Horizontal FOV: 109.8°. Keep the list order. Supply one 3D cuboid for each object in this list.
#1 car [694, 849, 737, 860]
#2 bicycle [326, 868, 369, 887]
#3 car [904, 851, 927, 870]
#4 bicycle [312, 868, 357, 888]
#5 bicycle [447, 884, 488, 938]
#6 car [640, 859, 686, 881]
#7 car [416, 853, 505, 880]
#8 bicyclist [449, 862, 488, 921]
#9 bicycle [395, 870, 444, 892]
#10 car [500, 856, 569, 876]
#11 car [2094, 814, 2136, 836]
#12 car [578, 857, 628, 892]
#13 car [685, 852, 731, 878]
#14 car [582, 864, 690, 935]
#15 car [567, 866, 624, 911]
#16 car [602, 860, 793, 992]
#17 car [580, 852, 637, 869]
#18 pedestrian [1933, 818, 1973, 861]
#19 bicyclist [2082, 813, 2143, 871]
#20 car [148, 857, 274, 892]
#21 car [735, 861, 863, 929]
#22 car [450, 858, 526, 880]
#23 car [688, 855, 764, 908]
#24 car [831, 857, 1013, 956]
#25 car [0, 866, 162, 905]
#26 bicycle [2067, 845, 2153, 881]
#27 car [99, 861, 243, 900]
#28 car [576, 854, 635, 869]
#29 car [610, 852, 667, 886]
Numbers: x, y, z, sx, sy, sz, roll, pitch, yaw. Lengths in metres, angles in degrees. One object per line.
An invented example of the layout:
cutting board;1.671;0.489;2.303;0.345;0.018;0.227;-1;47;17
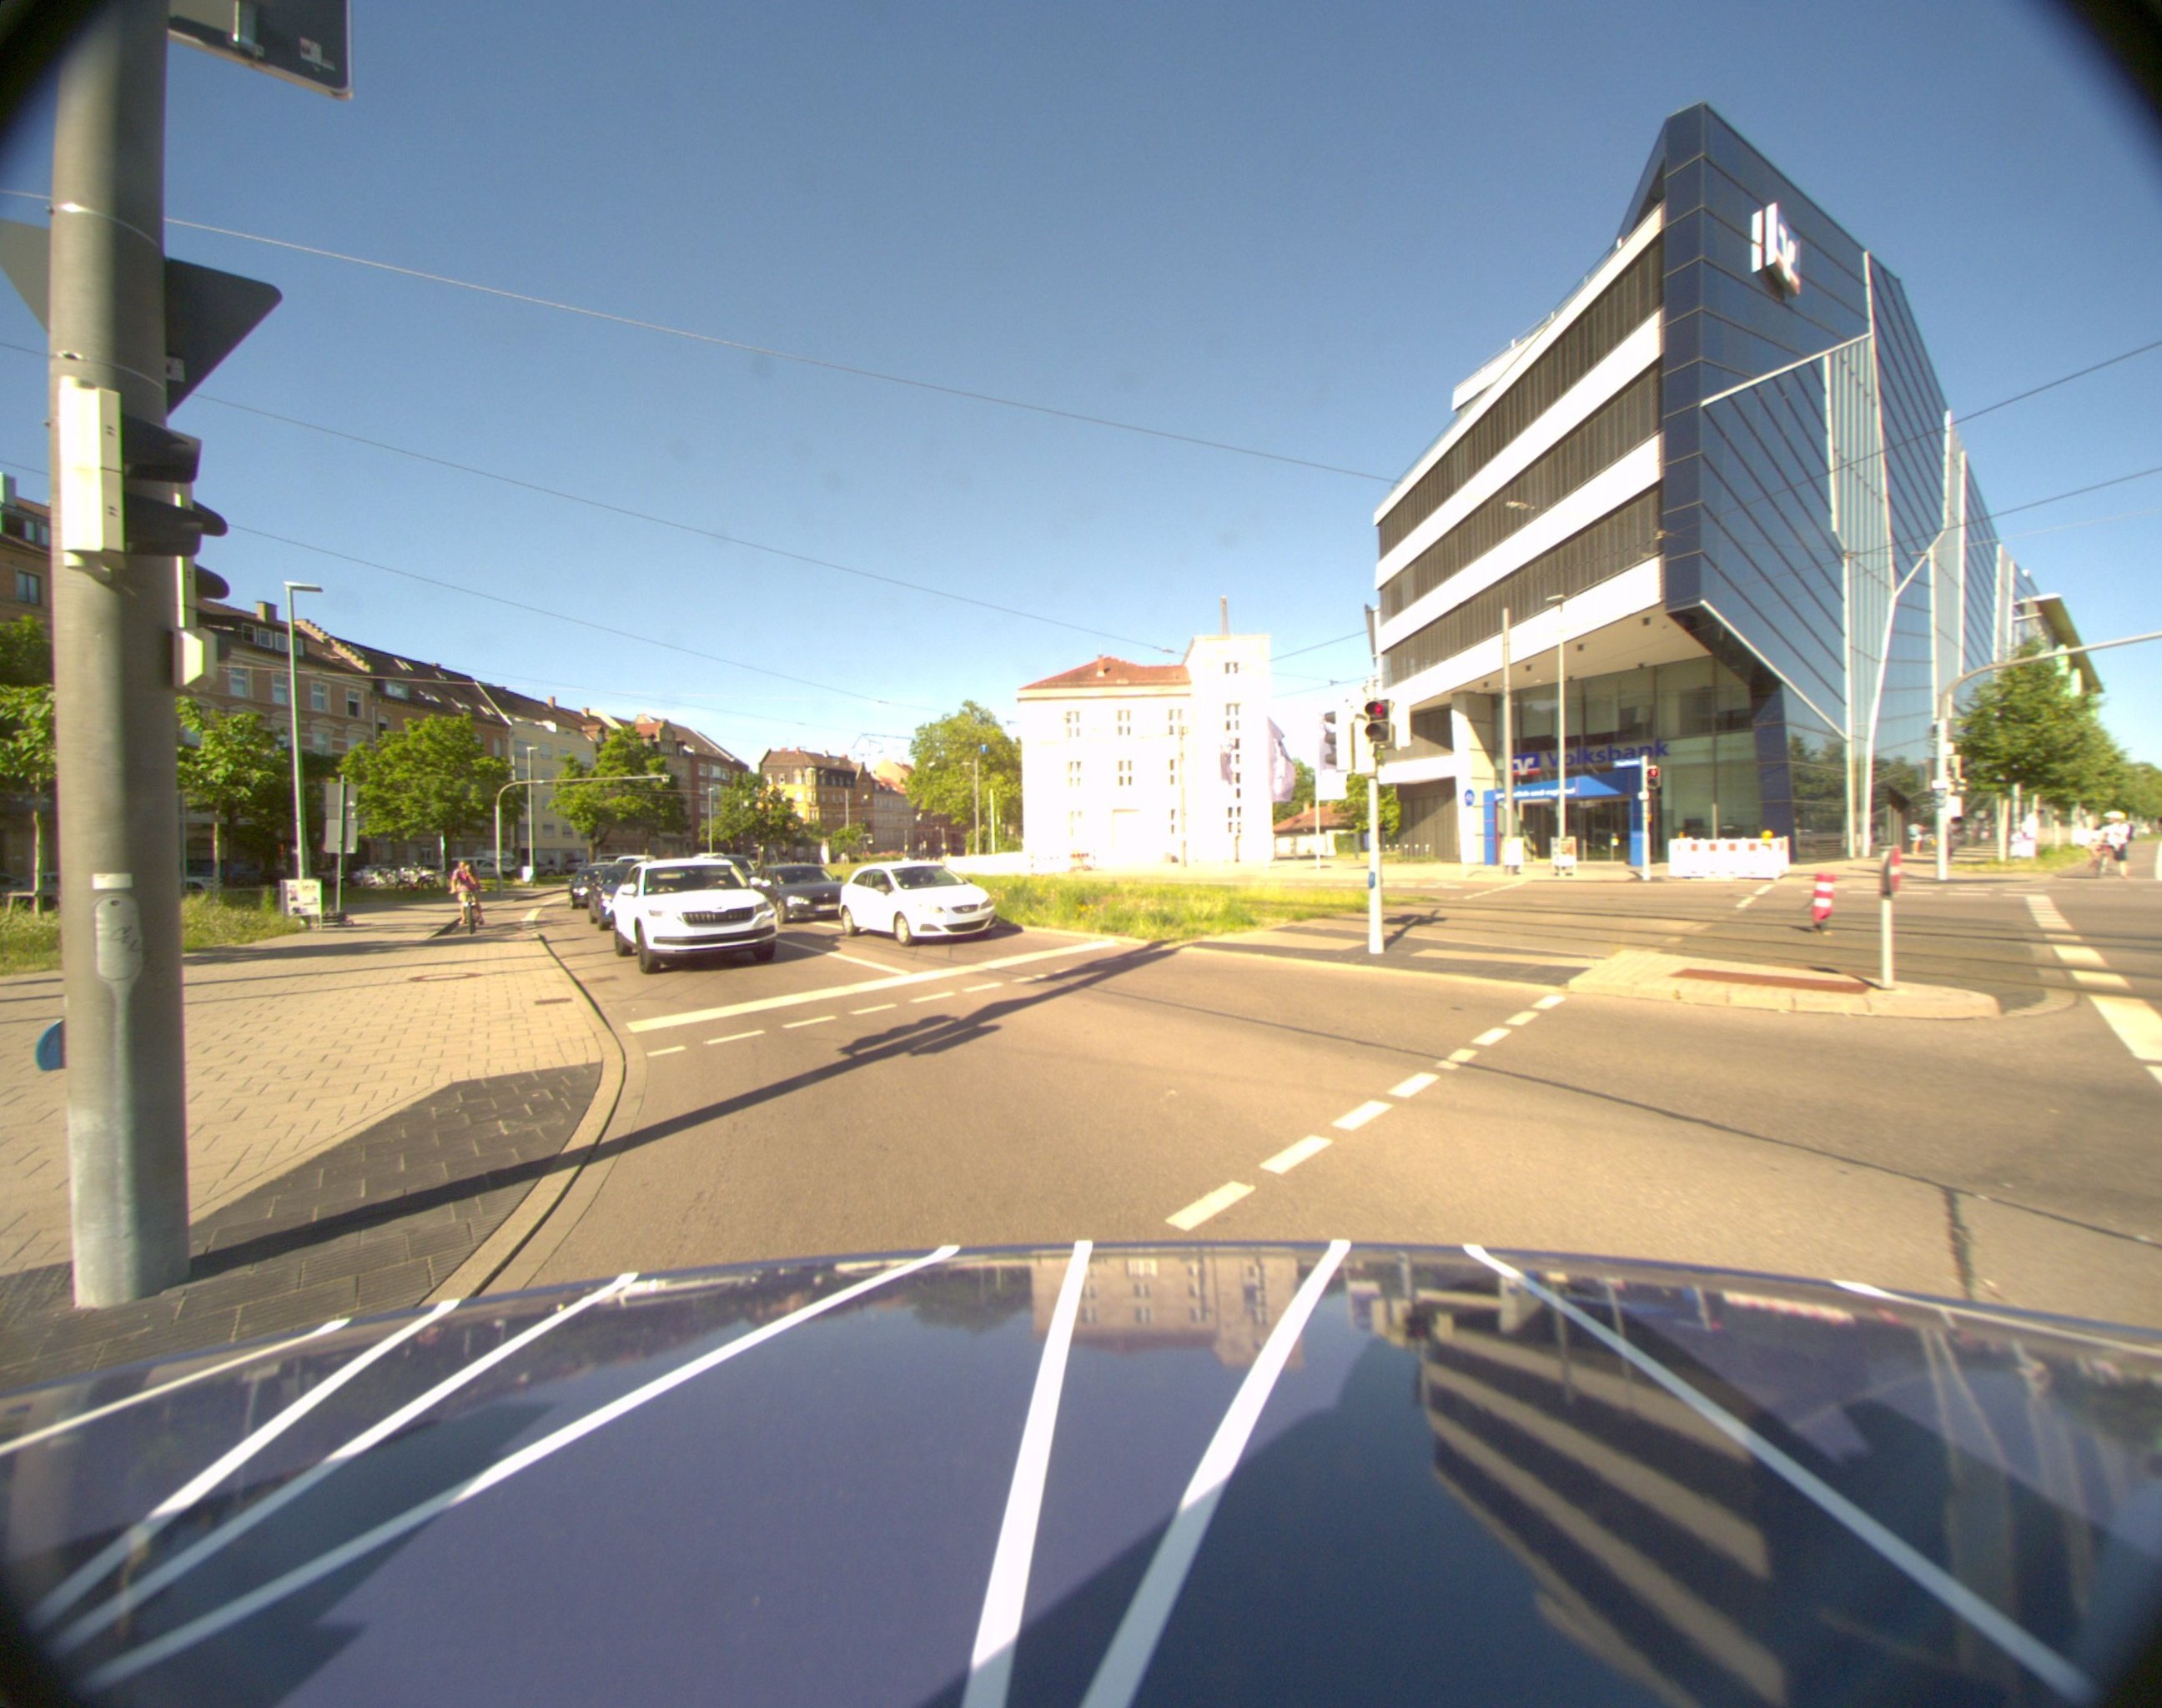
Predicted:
car;-43.856;0.006;91.167;4.408;1.203;1.995;-2;1;-35
bicycle;-41.766;1.344;43.295;1.762;1.018;0.451;-2;1;-12
car;-16.084;0.569;73.767;1.770;1.740;3.997;-2;1;-7
bicycle;-41.620;1.348;42.362;1.762;1.018;0.451;-2;1;-12
bicycle;-14.729;1.343;18.288;0.698;1.098;2.005;0;2;-37
car;-29.596;1.106;53.915;1.876;1.439;3.903;-2;1;-14
car;-44.443;0.859;54.569;4.802;1.761;1.727;-2;1;-35
bicyclist;-14.853;0.882;18.441;0.698;1.369;0.736;0;2;-37
bicycle;-33.502;1.353;38.504;0.567;1.018;1.764;-1;1;26
car;-43.983;0.948;61.247;4.408;1.453;1.995;-2;1;-36
car;85.663;-2.405;62.910;4.007;1.718;1.995;-2;1;-35
car;-22.938;0.933;36.406;1.878;1.547;3.990;-2;1;-34
car;-24.836;0.695;50.737;1.876;1.547;3.995;-2;1;-14
car;-11.557;1.086;19.623;1.878;1.547;3.989;-2;1;-37
car;-17.714;1.183;27.681;1.589;1.425;3.827;-2;1;-34
car;-6.317;0.967;12.238;1.878;1.621;4.326;-4;2;-37
car;-45.287;0.609;72.965;4.406;1.453;1.996;-2;1;-25
pedestrian;32.026;-0.522;27.912;0.614;1.547;0.855;-2;1;-31
bicyclist;25.840;-0.305;19.035;0.772;1.402;0.760;-2;1;-25
car;-46.361;1.064;40.634;4.007;1.652;1.995;-2;1;-35
car;-7.300;0.948;19.395;1.844;1.423;4.472;-4;2;-36
car;-44.821;1.116;57.574;4.408;1.498;1.995;-2;1;-36
car;-12.919;0.904;27.502;1.772;1.675;4.316;-4;2;-34
car;-3.028;0.843;13.938;1.672;1.423;3.825;-6;3;-37
car;-43.950;1.352;33.465;4.007;1.455;1.995;-2;1;-35
bicycle;25.794;0.211;19.036;2.571;0.835;0.769;-1;1;-25
car;-43.454;1.223;36.441;4.007;1.652;1.995;-2;1;-35
car;-44.027;0.716;70.469;4.406;1.227;1.996;-2;1;-25
car;-28.136;0.913;48.494;1.876;1.970;4.648;-2;1;-14
